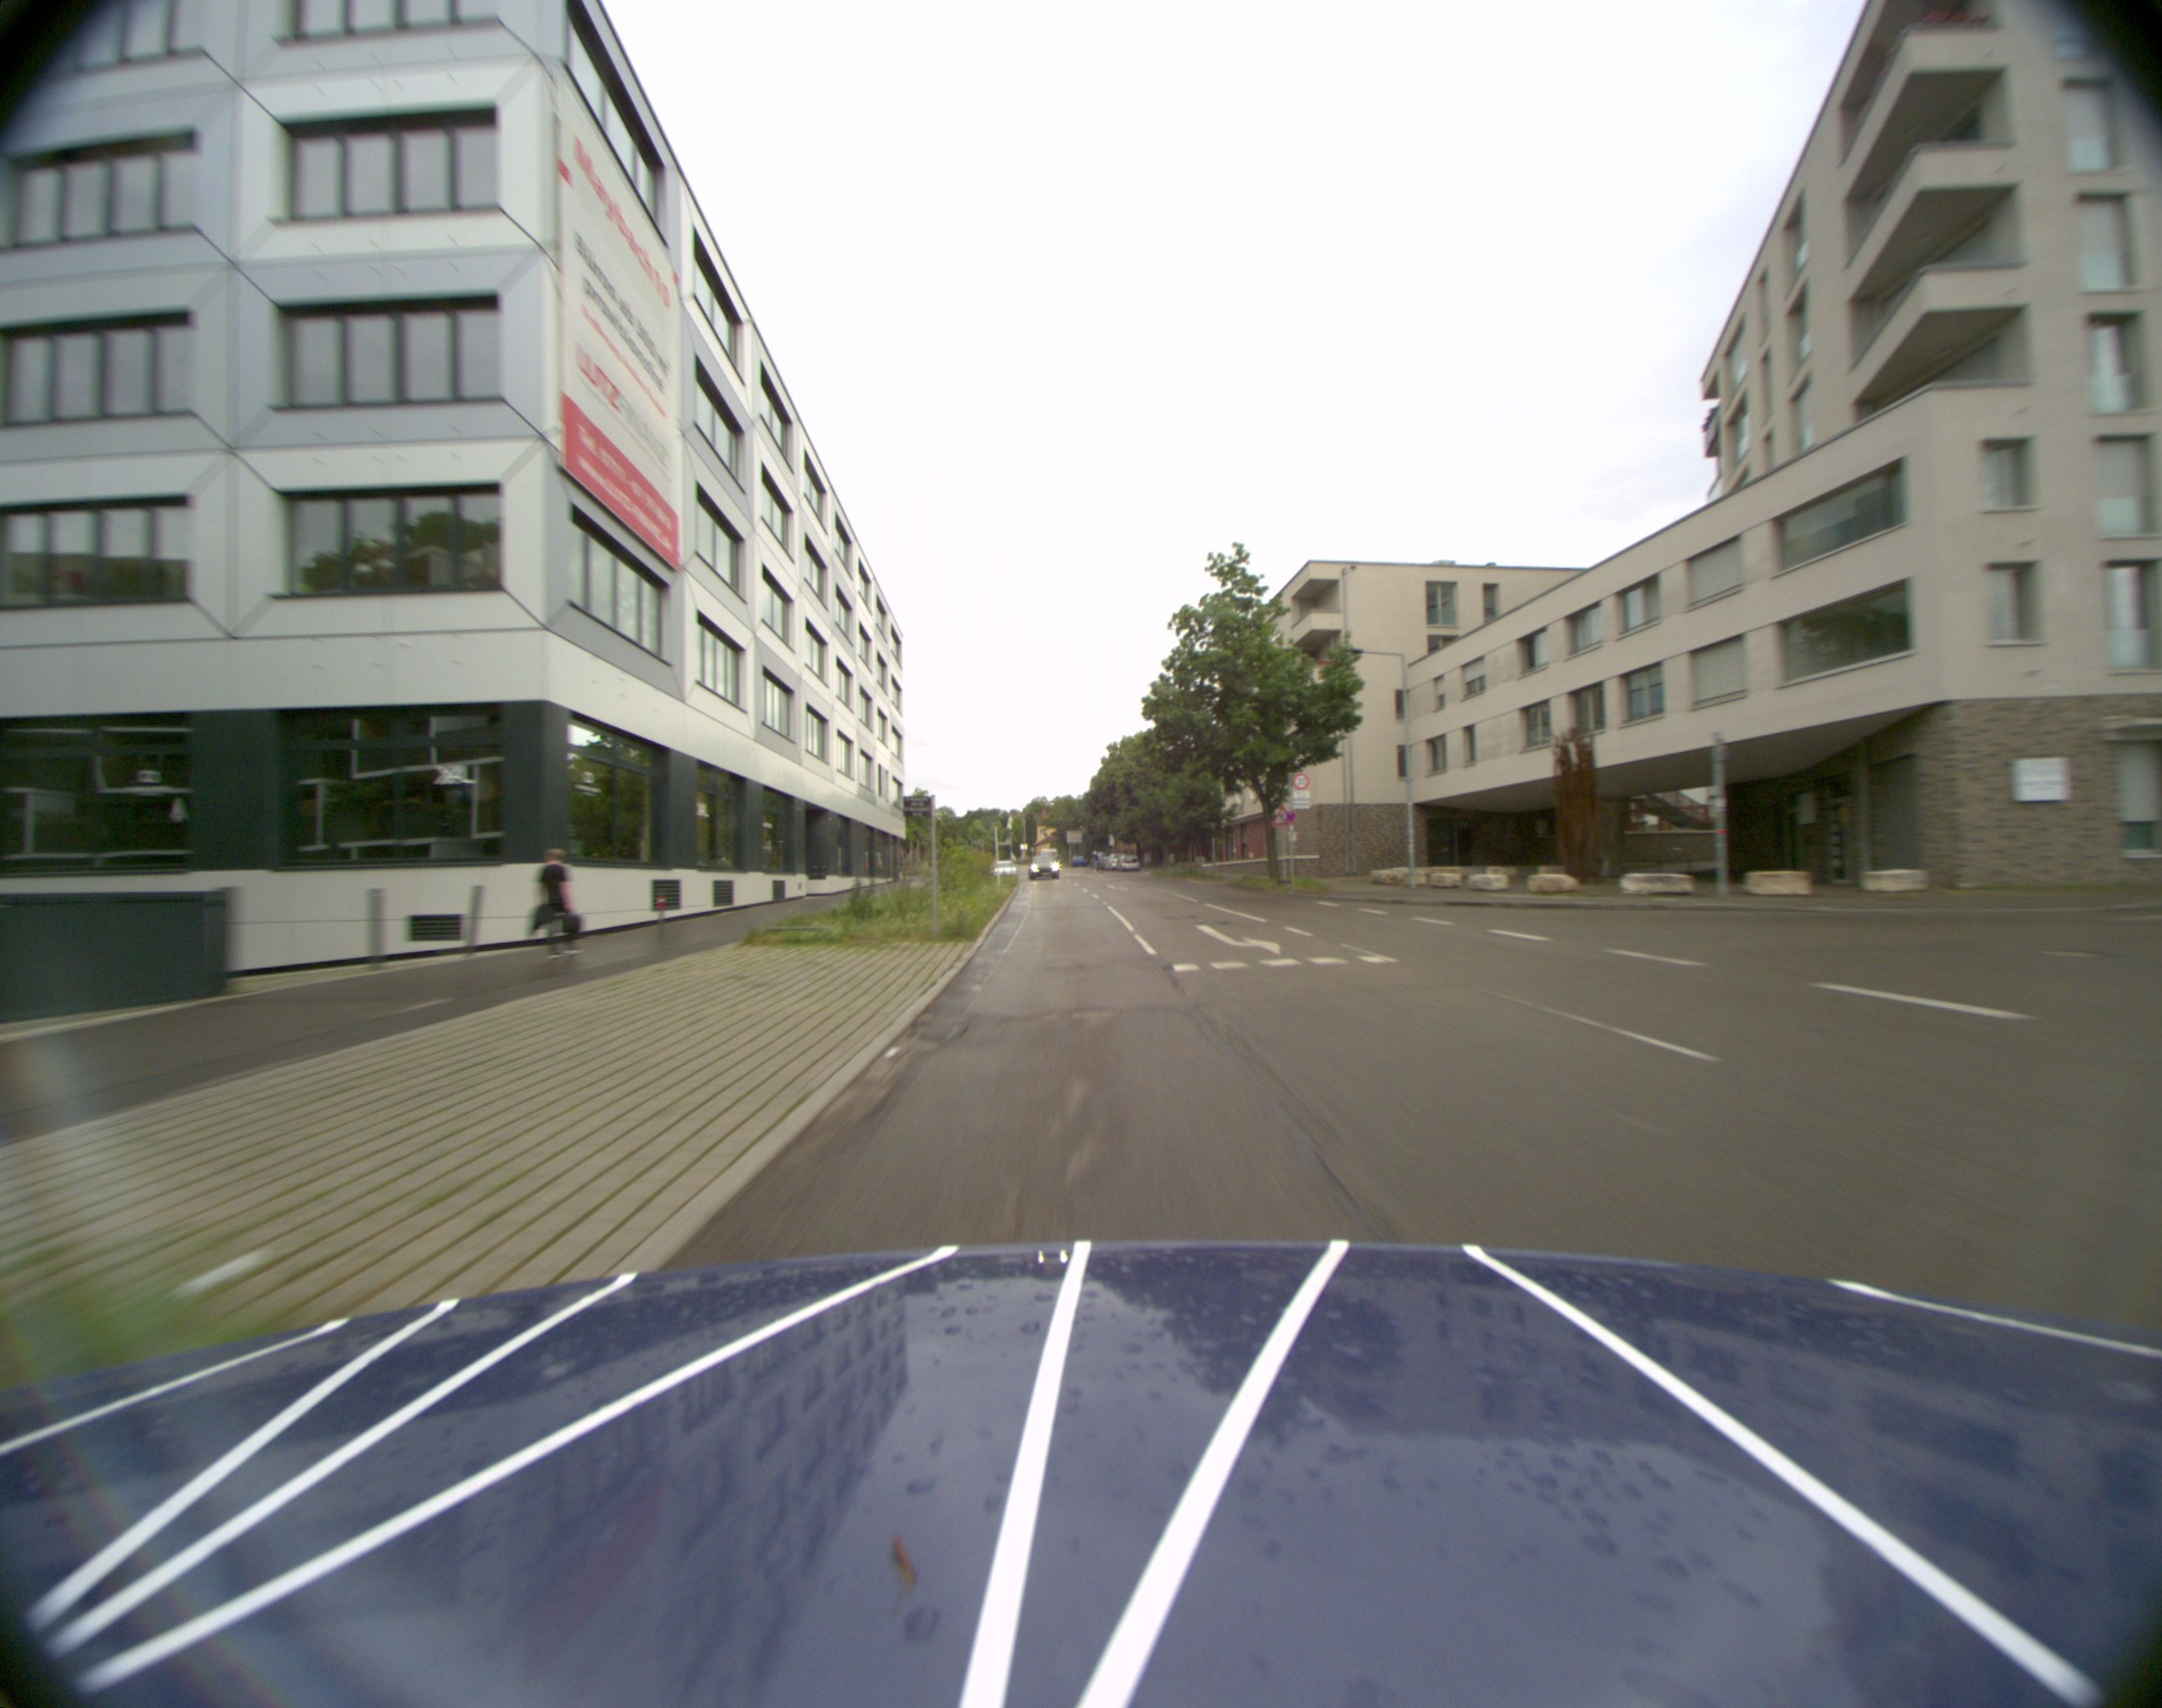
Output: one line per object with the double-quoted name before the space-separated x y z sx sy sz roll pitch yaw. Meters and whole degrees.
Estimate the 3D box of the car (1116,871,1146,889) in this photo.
"car" 4.375 2.244 66.765 1.885 1.454 3.845 -2 0 -7

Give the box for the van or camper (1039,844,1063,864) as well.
"van or camper" -4.638 0.095 115.292 2.349 2.748 6.136 -2 -1 -14

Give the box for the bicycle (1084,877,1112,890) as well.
"bicycle" 1.469 2.514 64.830 2.251 0.973 0.805 -3 0 10

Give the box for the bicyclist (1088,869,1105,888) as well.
"bicyclist" 1.326 2.103 64.854 1.200 1.513 0.804 -3 0 10

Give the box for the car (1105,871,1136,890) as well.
"car" 3.668 2.462 71.602 1.996 1.583 4.487 -2 -1 -8

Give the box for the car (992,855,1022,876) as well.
"car" -5.569 0.869 56.844 2.046 1.455 4.500 -3 -1 -8

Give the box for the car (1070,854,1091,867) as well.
"car" -0.112 0.782 94.191 2.000 1.461 4.183 -2 -1 -8

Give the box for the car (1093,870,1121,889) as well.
"car" 2.599 2.558 77.011 2.000 1.776 5.407 -2 -1 -7

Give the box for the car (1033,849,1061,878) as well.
"car" -2.497 0.692 55.184 1.848 1.960 4.343 -2 0 -3

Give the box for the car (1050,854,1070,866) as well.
"car" -3.037 0.897 109.787 2.000 1.503 4.418 -2 -1 -12

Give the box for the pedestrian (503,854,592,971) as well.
"pedestrian" -8.460 0.899 12.077 0.824 1.785 0.778 -1 0 0
